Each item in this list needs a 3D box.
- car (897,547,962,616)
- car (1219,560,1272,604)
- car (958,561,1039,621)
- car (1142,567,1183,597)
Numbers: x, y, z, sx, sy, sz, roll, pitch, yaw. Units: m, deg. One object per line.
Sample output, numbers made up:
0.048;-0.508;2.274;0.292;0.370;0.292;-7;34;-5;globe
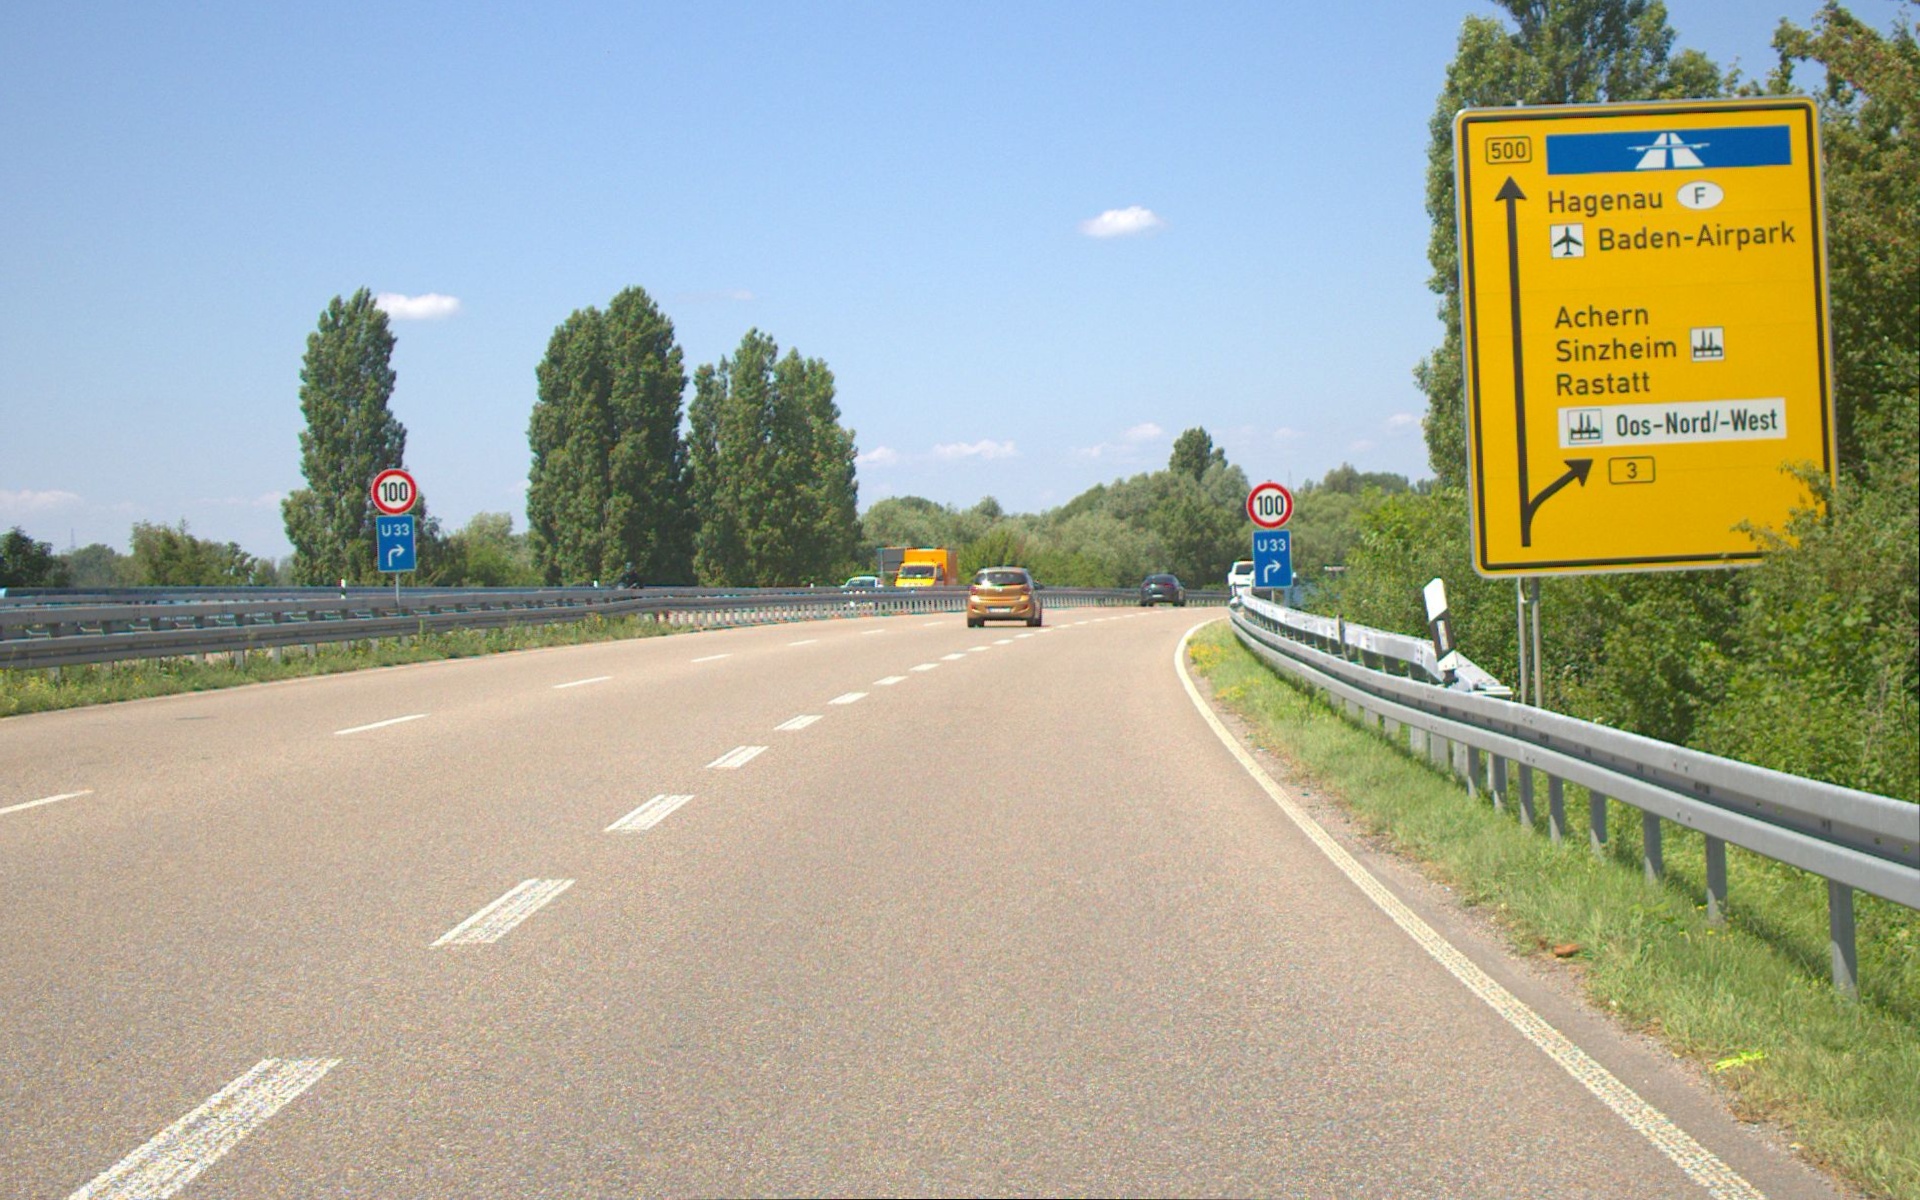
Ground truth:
-1.455;-0.900;168.141;2.306;3.280;7.026;-1;0;6;car
12.285;-0.790;147.638;1.842;1.889;3.998;0;1;11;car
0.977;-0.242;86.094;1.841;1.459;4.000;0;1;3;car
10.278;-0.931;174.319;1.944;1.459;3.999;0;1;5;car
